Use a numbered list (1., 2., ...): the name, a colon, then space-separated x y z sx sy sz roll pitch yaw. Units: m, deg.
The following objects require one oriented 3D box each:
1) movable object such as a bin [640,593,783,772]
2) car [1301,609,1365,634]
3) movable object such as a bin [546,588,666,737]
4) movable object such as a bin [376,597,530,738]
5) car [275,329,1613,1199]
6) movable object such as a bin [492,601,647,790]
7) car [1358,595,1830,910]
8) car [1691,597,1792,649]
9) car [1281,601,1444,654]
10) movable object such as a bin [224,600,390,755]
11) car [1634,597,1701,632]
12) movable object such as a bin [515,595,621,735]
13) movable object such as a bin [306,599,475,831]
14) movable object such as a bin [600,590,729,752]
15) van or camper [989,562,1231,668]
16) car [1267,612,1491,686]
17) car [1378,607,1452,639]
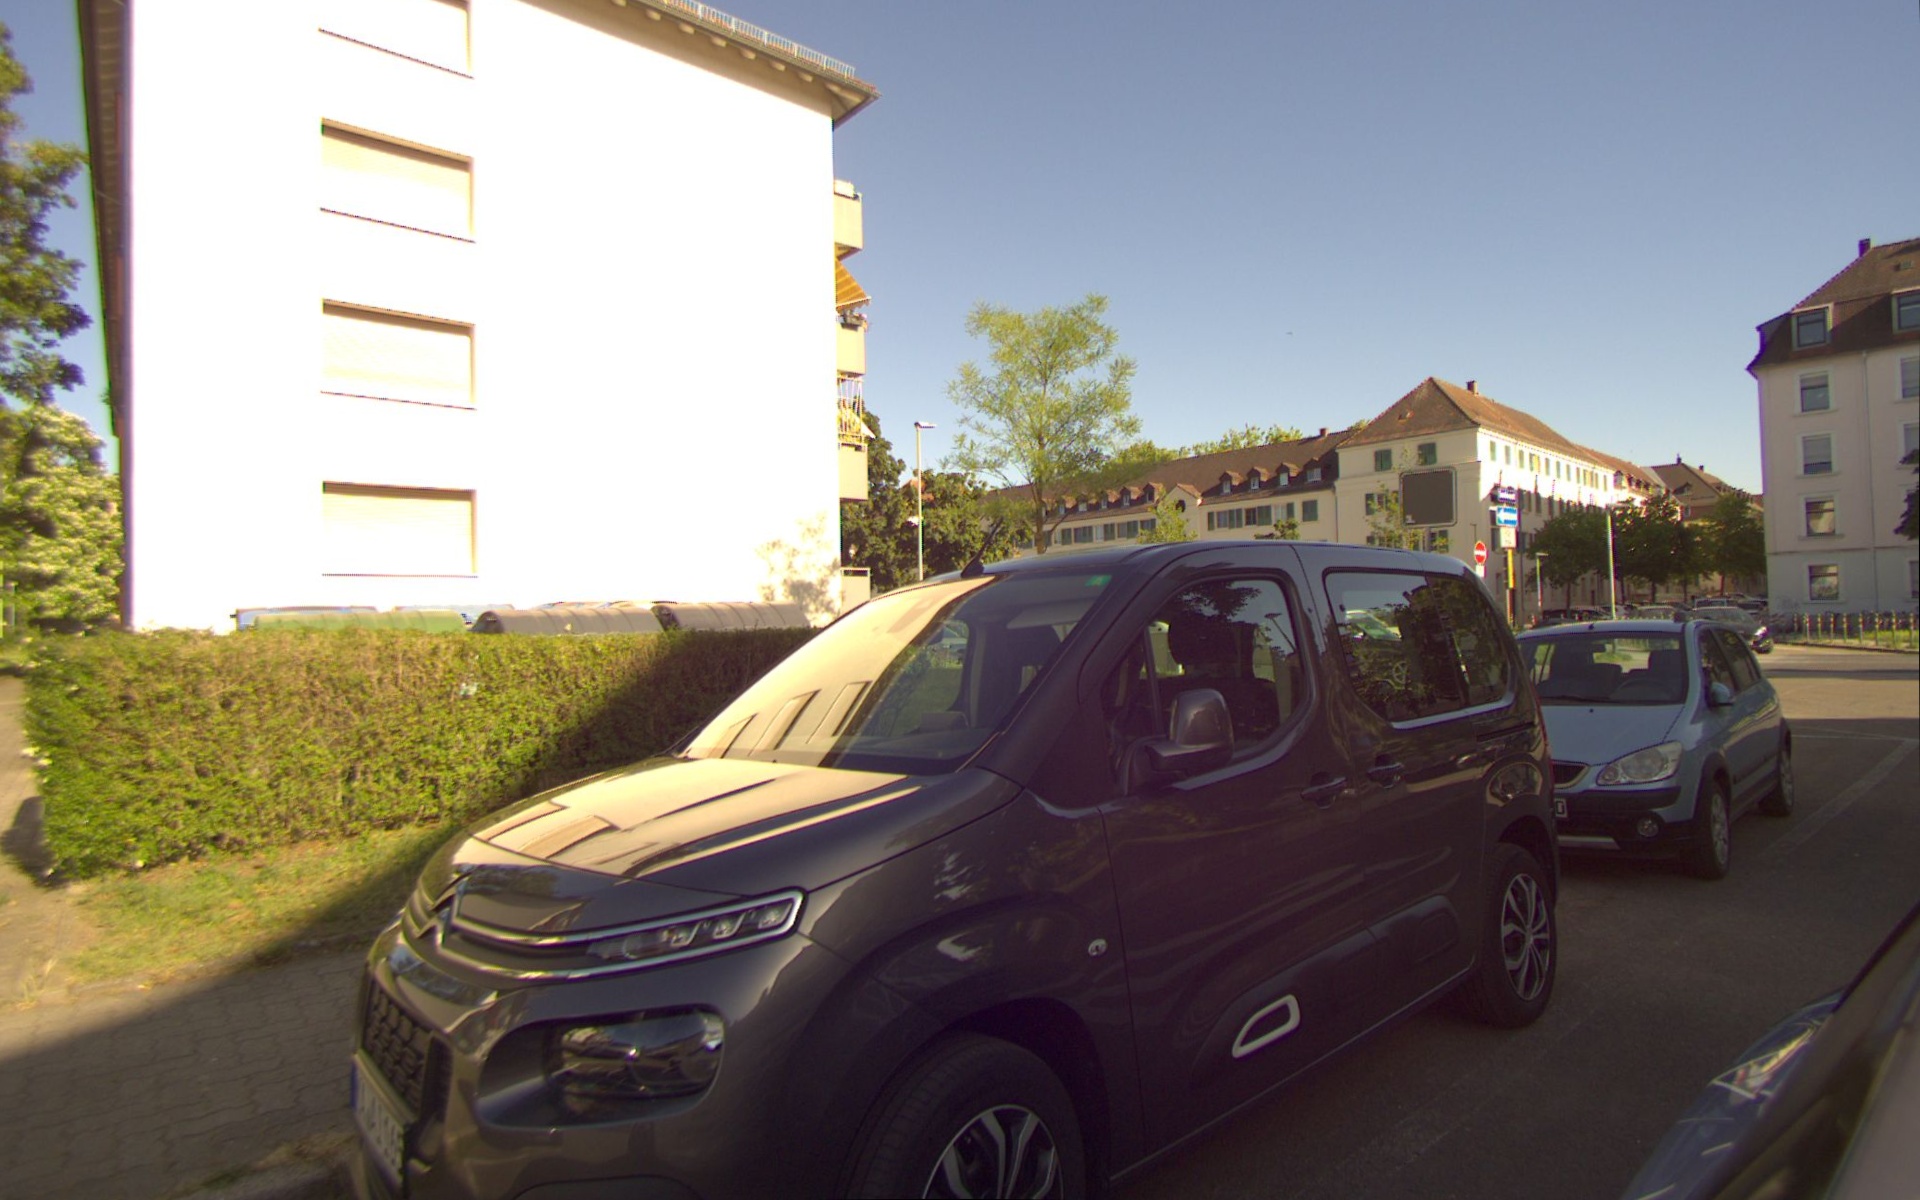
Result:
1. movable object such as a bin: -2.124 0.658 8.631 0.852 1.416 0.920 0 -1 -42
2. car: 26.491 1.523 71.959 1.619 1.661 3.992 0 -1 -41
3. movable object such as a bin: -3.698 0.618 10.575 0.907 1.466 0.864 0 -1 -45
4. movable object such as a bin: -5.702 0.705 11.378 1.257 1.466 1.237 0 -1 -43
5. car: 0.371 0.625 3.355 4.180 1.824 1.852 0 -5 -42
6. movable object such as a bin: -3.032 0.689 7.838 0.852 1.342 0.920 0 -1 -42
7. car: 4.527 0.806 6.991 3.885 1.557 1.725 0 -4 -43
8. car: 23.802 0.666 30.952 1.656 1.459 3.767 -1 0 26
9. car: 11.107 0.720 28.137 1.494 1.367 3.996 0 -1 -39
10. movable object such as a bin: -6.791 0.745 10.522 1.257 1.466 1.237 0 -1 -43
11. car: 29.377 0.578 42.123 1.656 1.394 3.767 -1 0 26
12. movable object such as a bin: -4.567 0.722 11.792 0.906 1.539 0.865 0 -1 -42
13. movable object such as a bin: -3.975 0.734 7.061 0.852 1.466 0.920 0 -1 -42
14. movable object such as a bin: -2.872 0.647 9.823 0.907 1.466 0.864 0 -1 -45
15. van or camper: 3.857 0.387 27.723 2.137 2.532 6.979 0 -1 -39
16. car: 8.689 0.945 21.259 1.769 1.367 3.997 0 0 -38
17. car: 30.143 1.530 67.087 1.966 2.039 3.991 0 -1 -42
